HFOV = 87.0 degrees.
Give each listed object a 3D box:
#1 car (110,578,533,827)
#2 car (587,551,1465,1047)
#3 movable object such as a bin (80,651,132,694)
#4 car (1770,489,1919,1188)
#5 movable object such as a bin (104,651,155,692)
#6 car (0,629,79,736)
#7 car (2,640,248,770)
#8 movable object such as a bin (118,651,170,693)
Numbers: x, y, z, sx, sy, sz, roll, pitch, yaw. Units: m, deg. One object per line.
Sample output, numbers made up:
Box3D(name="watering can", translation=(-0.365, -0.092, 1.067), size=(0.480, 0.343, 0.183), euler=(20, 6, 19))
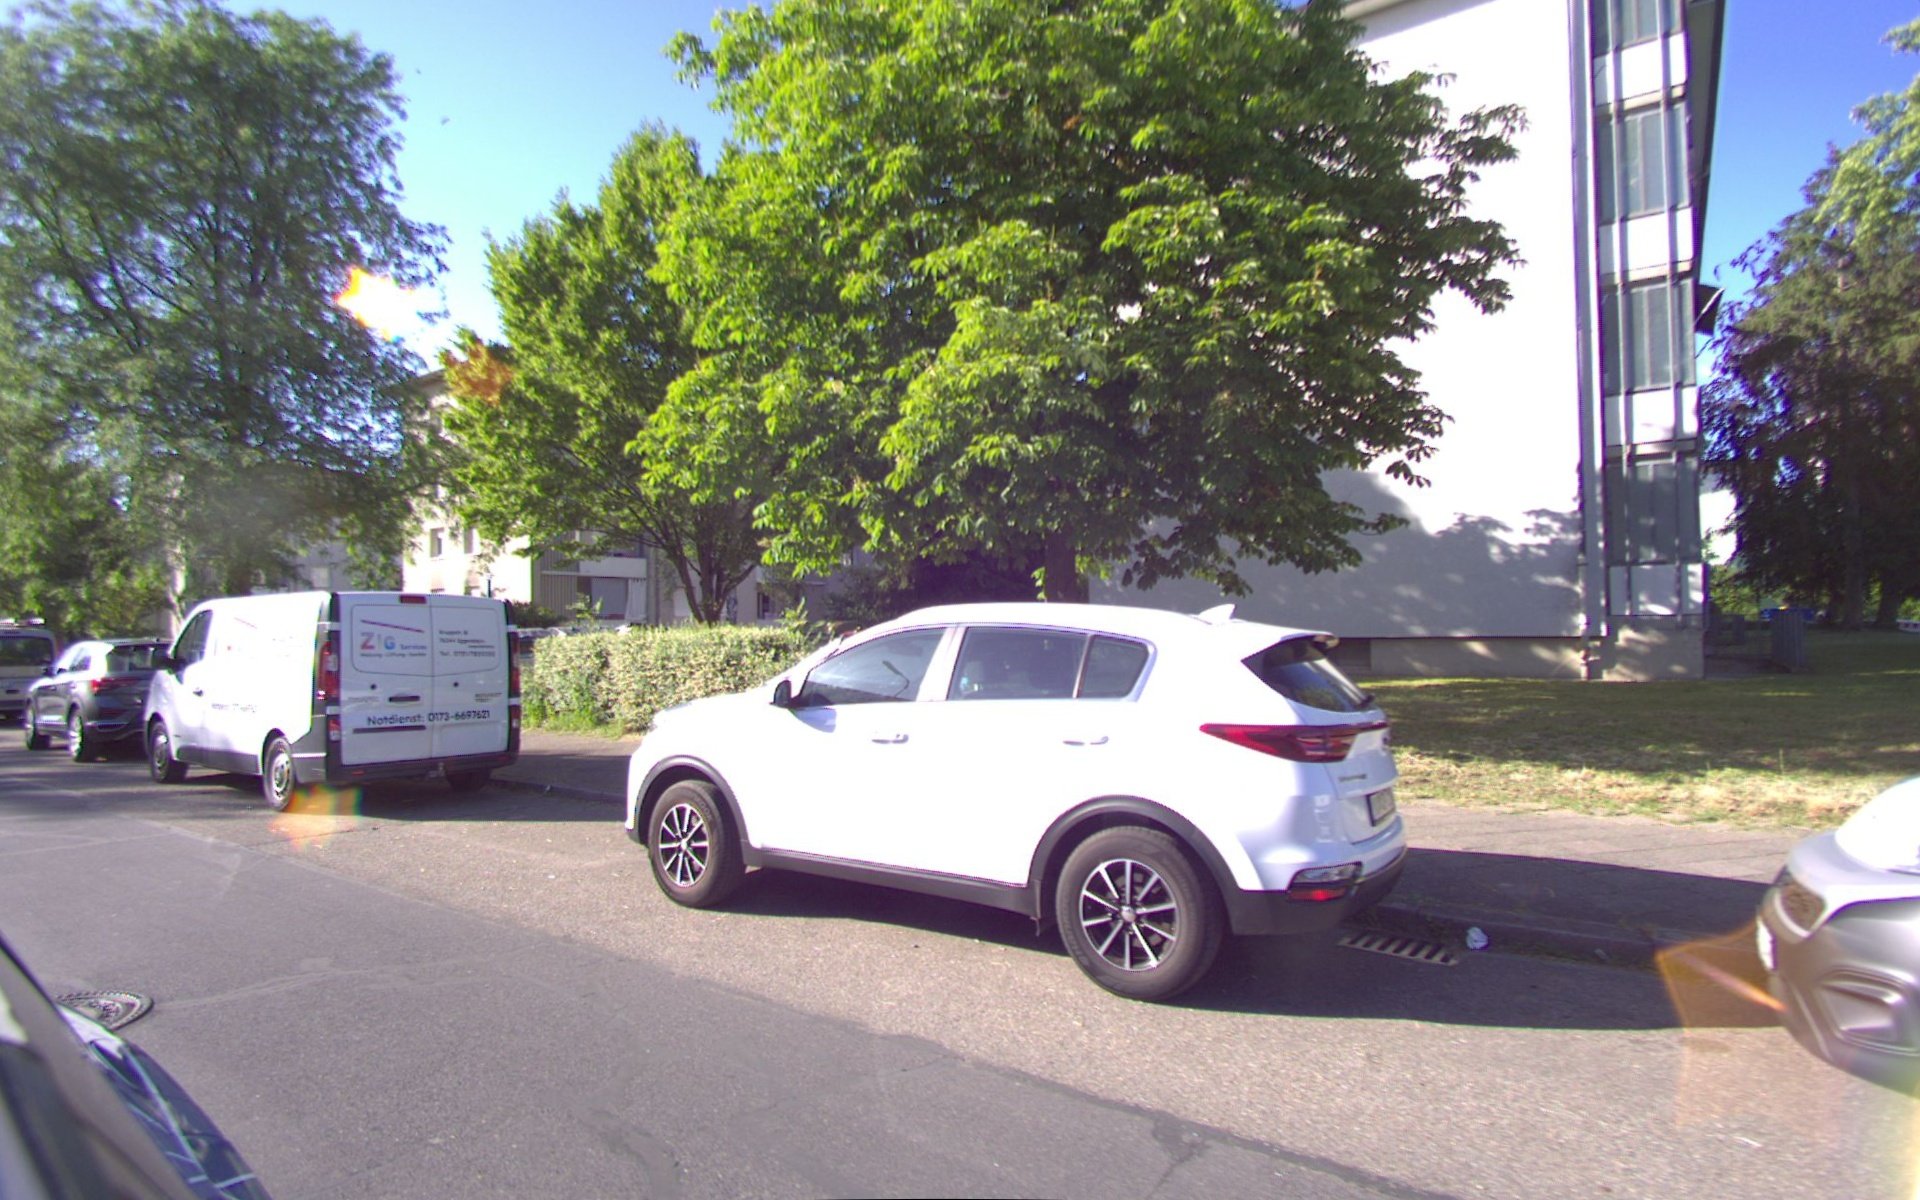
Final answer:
Box3D(name="car", translation=(-6.677, 0.959, 10.369), size=(5.077, 1.977, 1.898), euler=(-3, -4, 36))
Box3D(name="car", translation=(0.141, 0.796, 5.388), size=(4.364, 1.682, 1.732), euler=(-3, -4, 33))
Box3D(name="movable object such as a bin", translation=(-30.678, 2.592, 36.366), size=(1.358, 1.431, 1.124), euler=(-3, 0, 37))
Box3D(name="car", translation=(4.416, 0.543, 2.169), size=(3.996, 1.745, 1.731), euler=(-3, -4, 36))
Box3D(name="movable object such as a bin", translation=(-31.640, 2.715, 38.550), size=(1.460, 1.431, 1.167), euler=(-3, 0, 37))
Box3D(name="car", translation=(-18.852, 1.573, 19.405), size=(4.406, 1.907, 1.839), euler=(-3, -4, 34))
Box3D(name="car", translation=(-11.580, 1.365, 13.955), size=(4.133, 1.545, 1.730), euler=(-3, -4, 38))
Box3D(name="movable object such as a bin", translation=(-30.239, 2.650, 37.503), size=(1.460, 1.431, 1.167), euler=(-3, 0, 37))
